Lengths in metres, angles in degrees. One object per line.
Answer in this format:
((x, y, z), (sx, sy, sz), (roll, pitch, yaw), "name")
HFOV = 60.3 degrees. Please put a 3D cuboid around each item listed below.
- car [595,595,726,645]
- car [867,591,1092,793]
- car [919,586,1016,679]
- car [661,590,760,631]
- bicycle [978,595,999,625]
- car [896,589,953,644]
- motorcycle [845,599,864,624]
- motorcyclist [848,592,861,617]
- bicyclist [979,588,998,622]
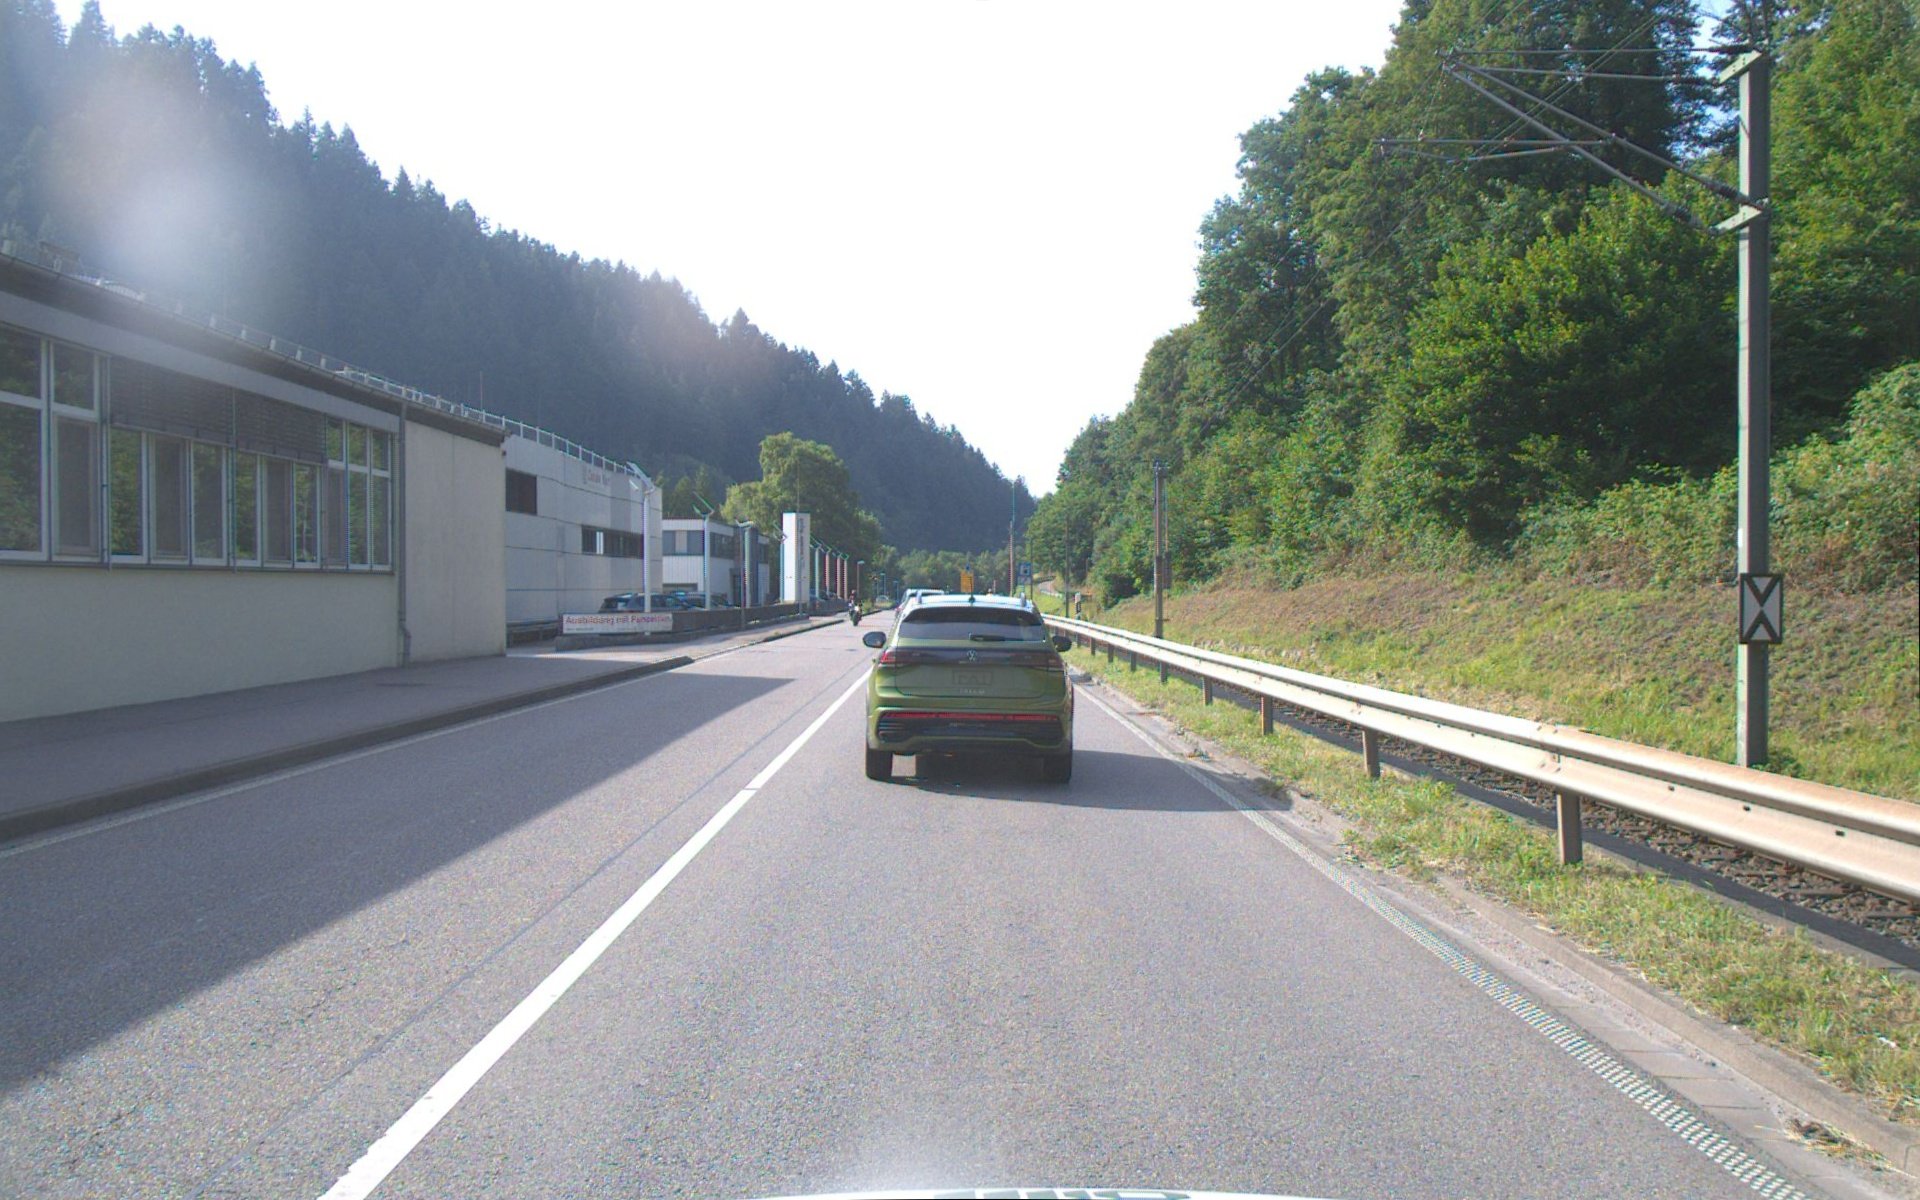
((-10.093, 0.633, 55.877), (1.854, 1.619, 4.152), (0, 0, 41), "car")
((0.101, 0.695, 14.606), (1.704, 1.534, 3.999), (0, 0, -2), "car")
((0.084, 0.565, 31.301), (1.704, 1.630, 3.999), (1, 0, -2), "car")
((-10.654, 0.430, 70.889), (1.749, 1.738, 4.087), (0, 0, 41), "car")
((1.227, 0.428, 71.111), (0.795, 1.272, 2.122), (0, 0, -2), "bicycle")
((-1.126, 0.489, 52.171), (1.704, 1.630, 3.999), (1, 0, -2), "car")
((-4.688, 0.523, 73.867), (0.726, 1.087, 2.492), (0, 0, -1), "motorcycle")
((-4.733, 0.200, 74.148), (0.574, 1.144, 0.636), (0, 0, -1), "motorcyclist")
((1.228, 0.208, 71.217), (0.766, 1.436, 0.675), (0, 0, -3), "bicyclist")
